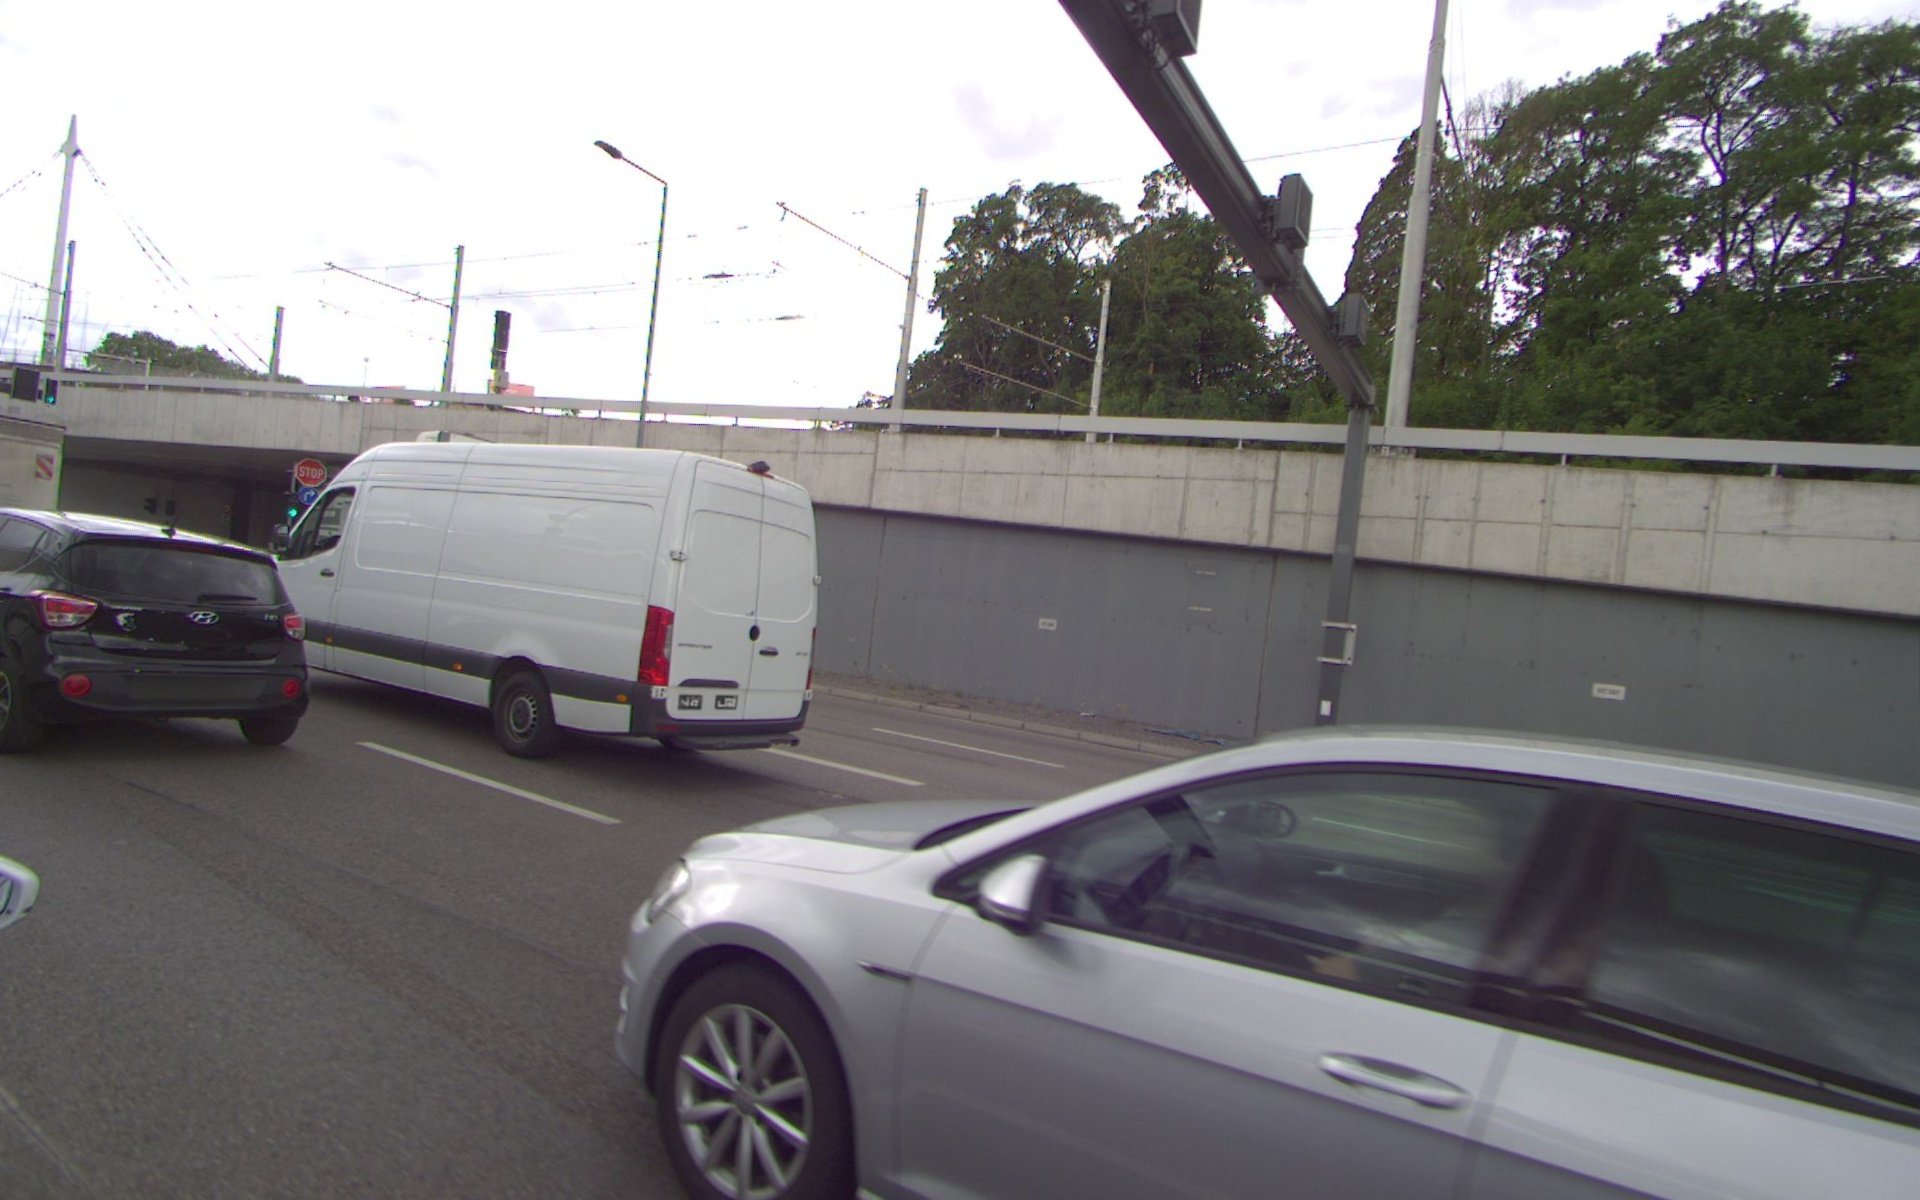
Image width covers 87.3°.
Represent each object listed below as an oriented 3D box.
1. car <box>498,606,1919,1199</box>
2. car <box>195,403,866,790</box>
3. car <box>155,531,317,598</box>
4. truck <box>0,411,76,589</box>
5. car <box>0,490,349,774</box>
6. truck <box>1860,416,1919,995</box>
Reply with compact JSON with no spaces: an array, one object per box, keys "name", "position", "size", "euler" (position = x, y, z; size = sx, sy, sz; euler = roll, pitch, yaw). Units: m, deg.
[{"name":"car","position":[0.906,0.945,2.589],"size":[3.971,1.400,1.766],"euler":[6,-1,30]},{"name":"car","position":[-4.592,-0.293,9.996],"size":[7.203,2.806,2.079],"euler":[7,0,31]},{"name":"car","position":[-19.299,-0.958,26.785],"size":[4.395,1.419,1.995],"euler":[5,-1,33]},{"name":"truck","position":[-21.248,-2.228,20.456],"size":[7.302,3.224,2.653],"euler":[6,-1,31]},{"name":"car","position":[-6.389,0.084,7.247],"size":[3.629,1.562,1.686],"euler":[7,-2,29]},{"name":"truck","position":[8.264,0.093,2.999],"size":[7.318,4.684,3.813],"euler":[6,-2,31]}]
